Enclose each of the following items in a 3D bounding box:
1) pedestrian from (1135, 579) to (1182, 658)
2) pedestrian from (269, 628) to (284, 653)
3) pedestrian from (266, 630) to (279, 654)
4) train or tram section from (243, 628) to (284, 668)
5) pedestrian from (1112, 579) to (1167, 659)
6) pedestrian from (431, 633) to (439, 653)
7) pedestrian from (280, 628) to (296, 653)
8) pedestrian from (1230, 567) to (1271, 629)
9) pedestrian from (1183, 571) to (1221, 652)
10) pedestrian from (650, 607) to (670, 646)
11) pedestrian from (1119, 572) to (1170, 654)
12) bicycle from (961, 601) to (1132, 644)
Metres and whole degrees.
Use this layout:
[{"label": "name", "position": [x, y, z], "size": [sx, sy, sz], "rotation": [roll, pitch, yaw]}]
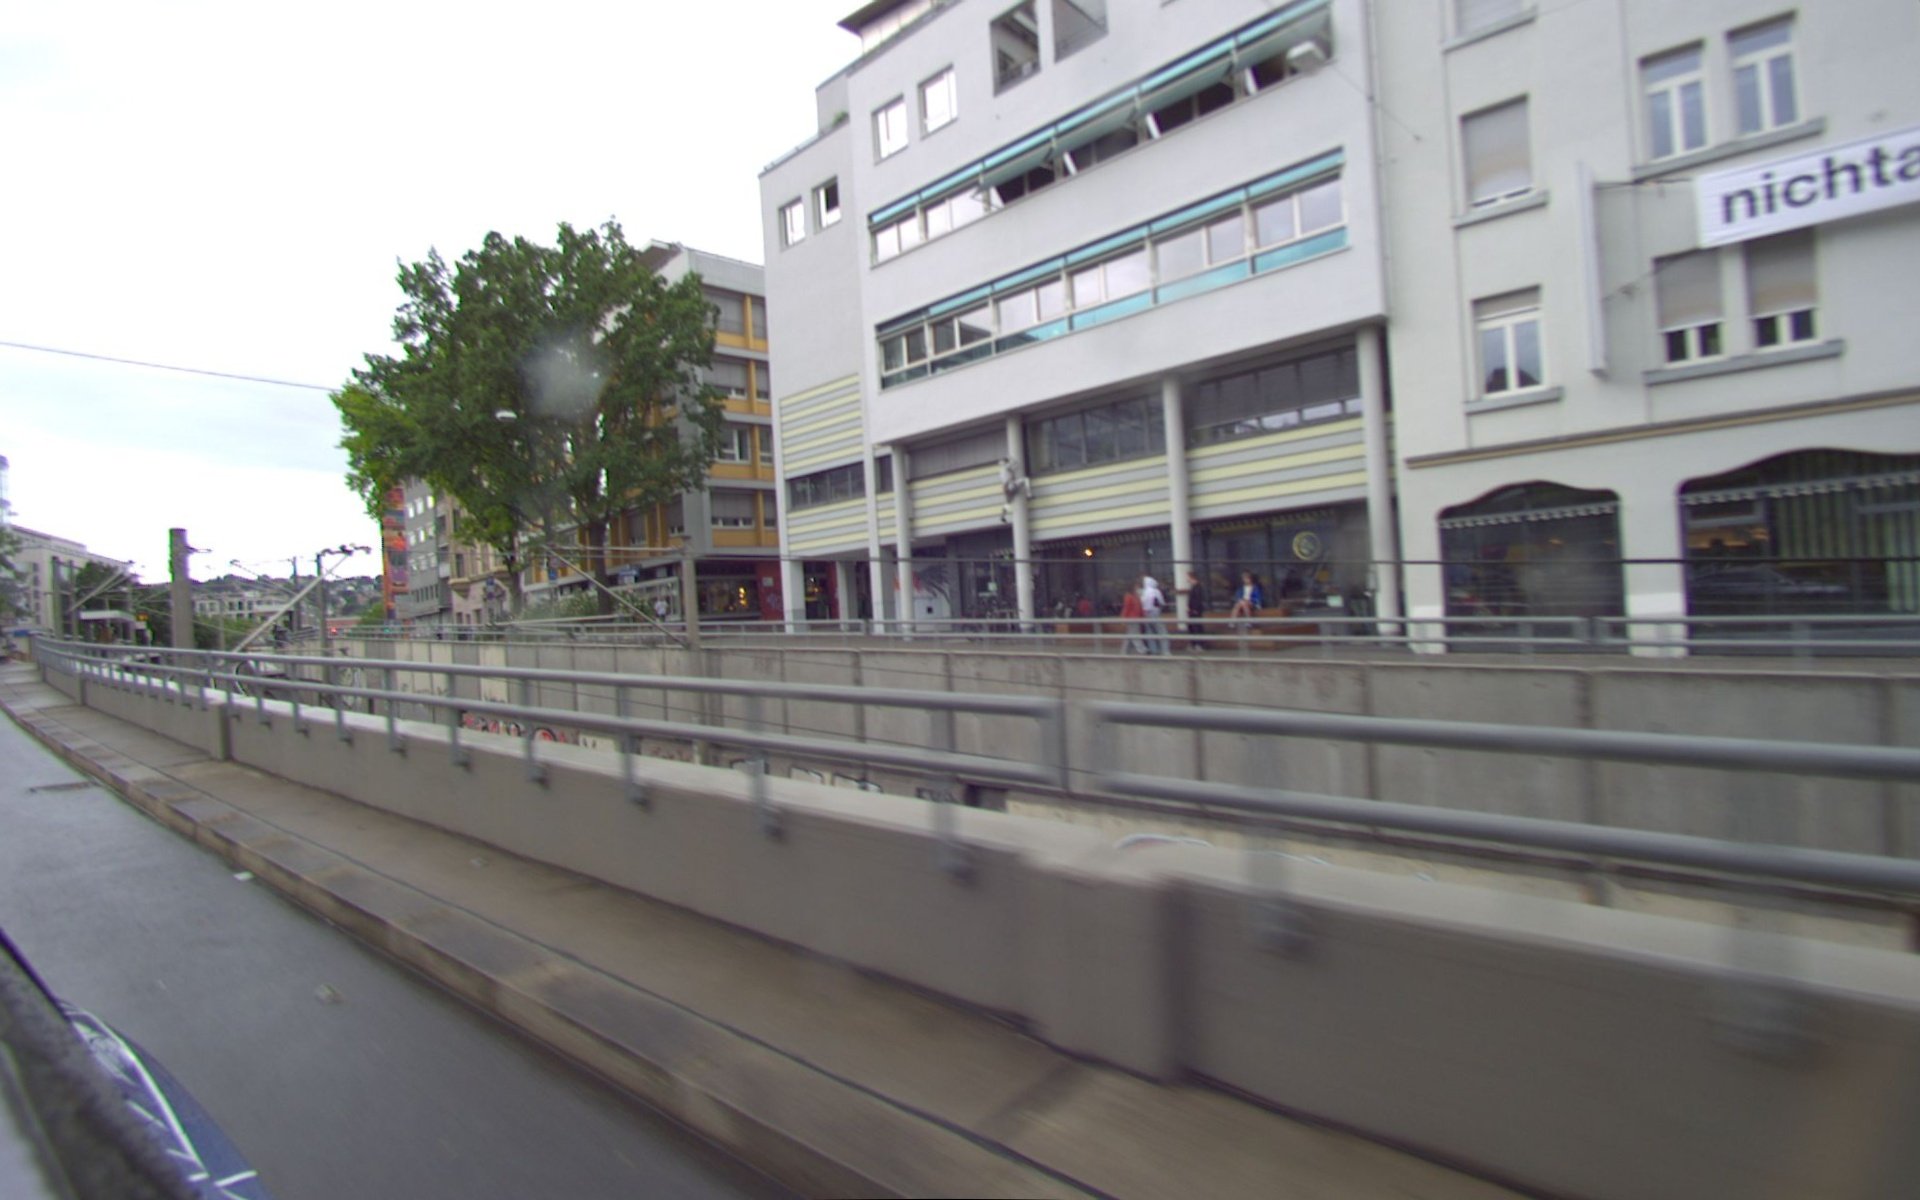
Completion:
[{"label": "pedestrian", "position": [4.301, 0.396, 21.939], "size": [0.783, 1.655, 0.674], "rotation": [-3, 0, -4]}, {"label": "pedestrian", "position": [-45.765, 2.720, 67.754], "size": [0.668, 1.661, 0.898], "rotation": [3, -5, -30]}, {"label": "pedestrian", "position": [-48.539, 2.964, 71.457], "size": [0.624, 1.673, 0.684], "rotation": [-3, -2, -31]}, {"label": "train or tram section", "position": [-75.355, 5.283, 109.633], "size": [2.741, 3.719, 9.741], "rotation": [-4, -3, -31]}, {"label": "pedestrian", "position": [3.805, 0.401, 21.405], "size": [0.937, 1.628, 0.668], "rotation": [-3, 0, 25]}, {"label": "pedestrian", "position": [-45.051, 3.665, 86.854], "size": [0.415, 1.695, 0.609], "rotation": [-4, -1, -23]}, {"label": "pedestrian", "position": [-45.677, 2.783, 68.810], "size": [0.761, 1.661, 0.780], "rotation": [4, -5, -30]}, {"label": "pedestrian", "position": [6.858, -0.041, 23.877], "size": [0.674, 1.430, 0.600], "rotation": [-3, 0, 44]}, {"label": "pedestrian", "position": [5.309, 0.253, 22.251], "size": [0.601, 1.735, 0.673], "rotation": [-3, 0, 0]}, {"label": "pedestrian", "position": [-14.399, 1.266, 48.565], "size": [0.657, 1.863, 0.831], "rotation": [0, -2, -41]}, {"label": "pedestrian", "position": [4.196, 0.289, 23.041], "size": [0.937, 1.798, 0.668], "rotation": [-3, 0, 25]}, {"label": "bicycle", "position": [2.232, 0.612, 27.056], "size": [4.523, 1.051, 1.674], "rotation": [-2, -2, 44]}]
